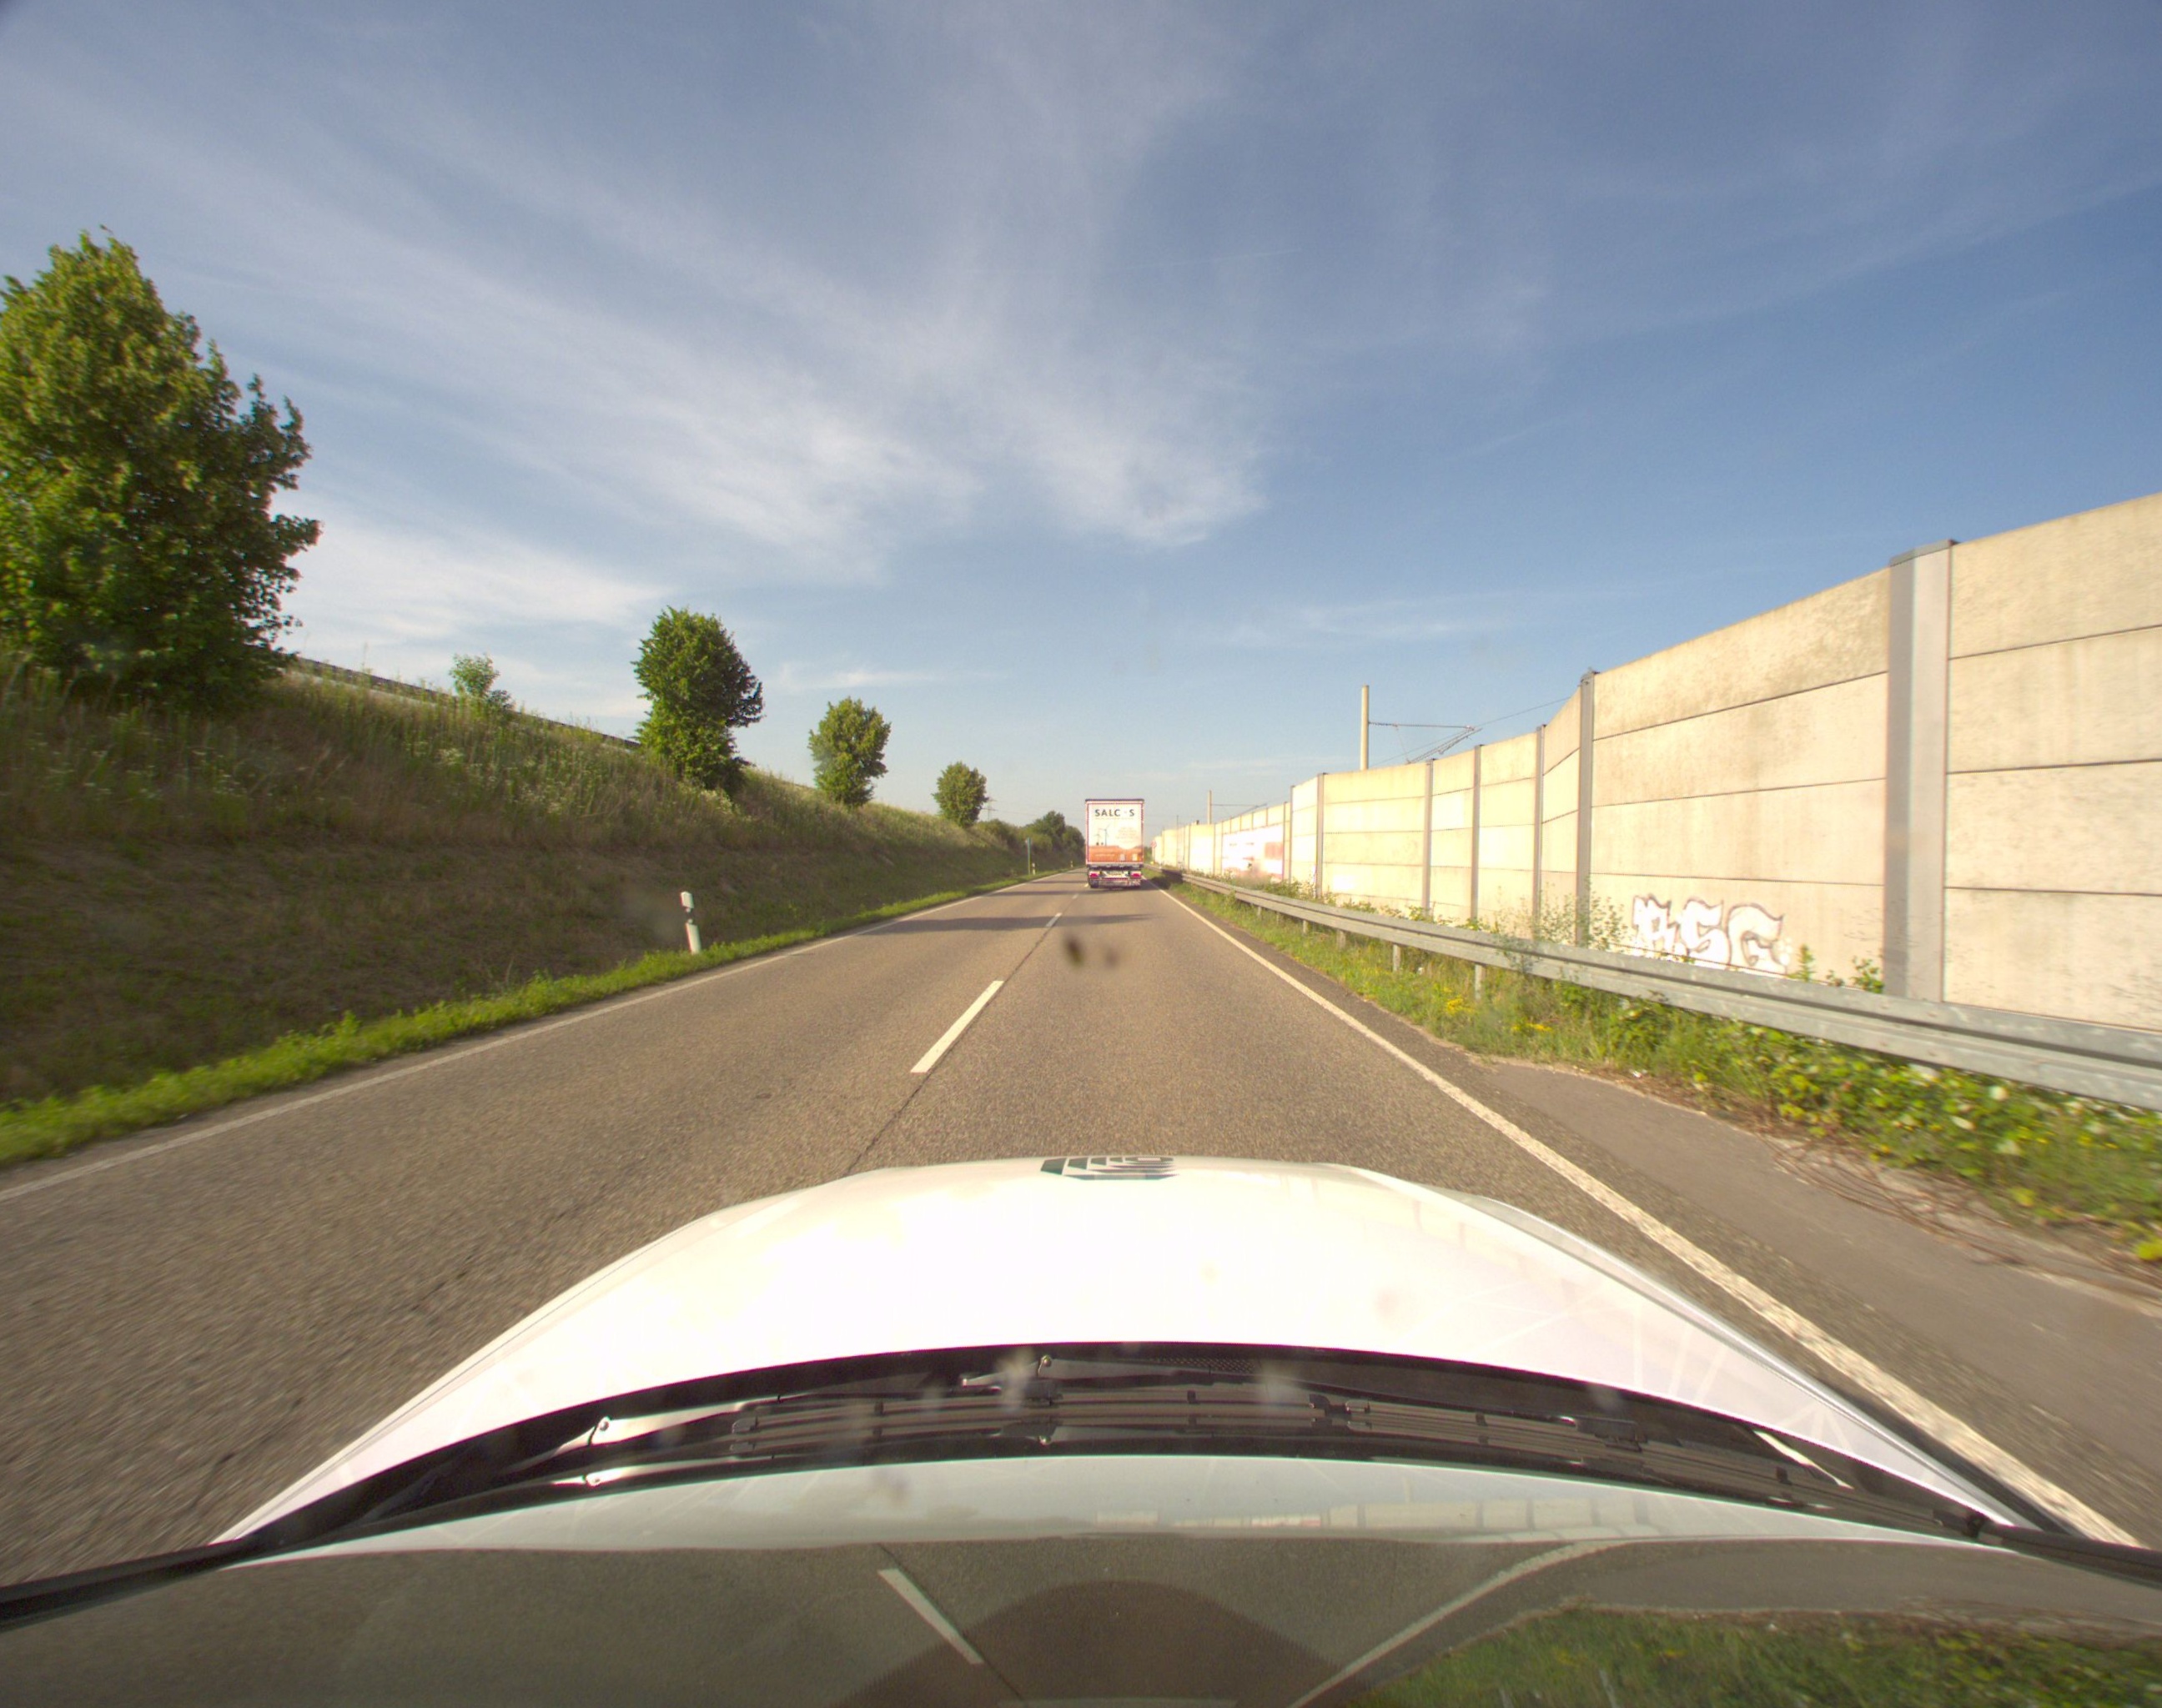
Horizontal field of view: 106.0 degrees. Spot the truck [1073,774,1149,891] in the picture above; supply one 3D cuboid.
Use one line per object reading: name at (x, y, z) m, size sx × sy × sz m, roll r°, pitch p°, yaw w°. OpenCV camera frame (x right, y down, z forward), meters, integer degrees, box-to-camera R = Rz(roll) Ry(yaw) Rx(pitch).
truck at (1.445, -0.932, 41.633) m, size 3.279 × 5.090 × 12.040 m, roll 0°, pitch 0°, yaw 1°
